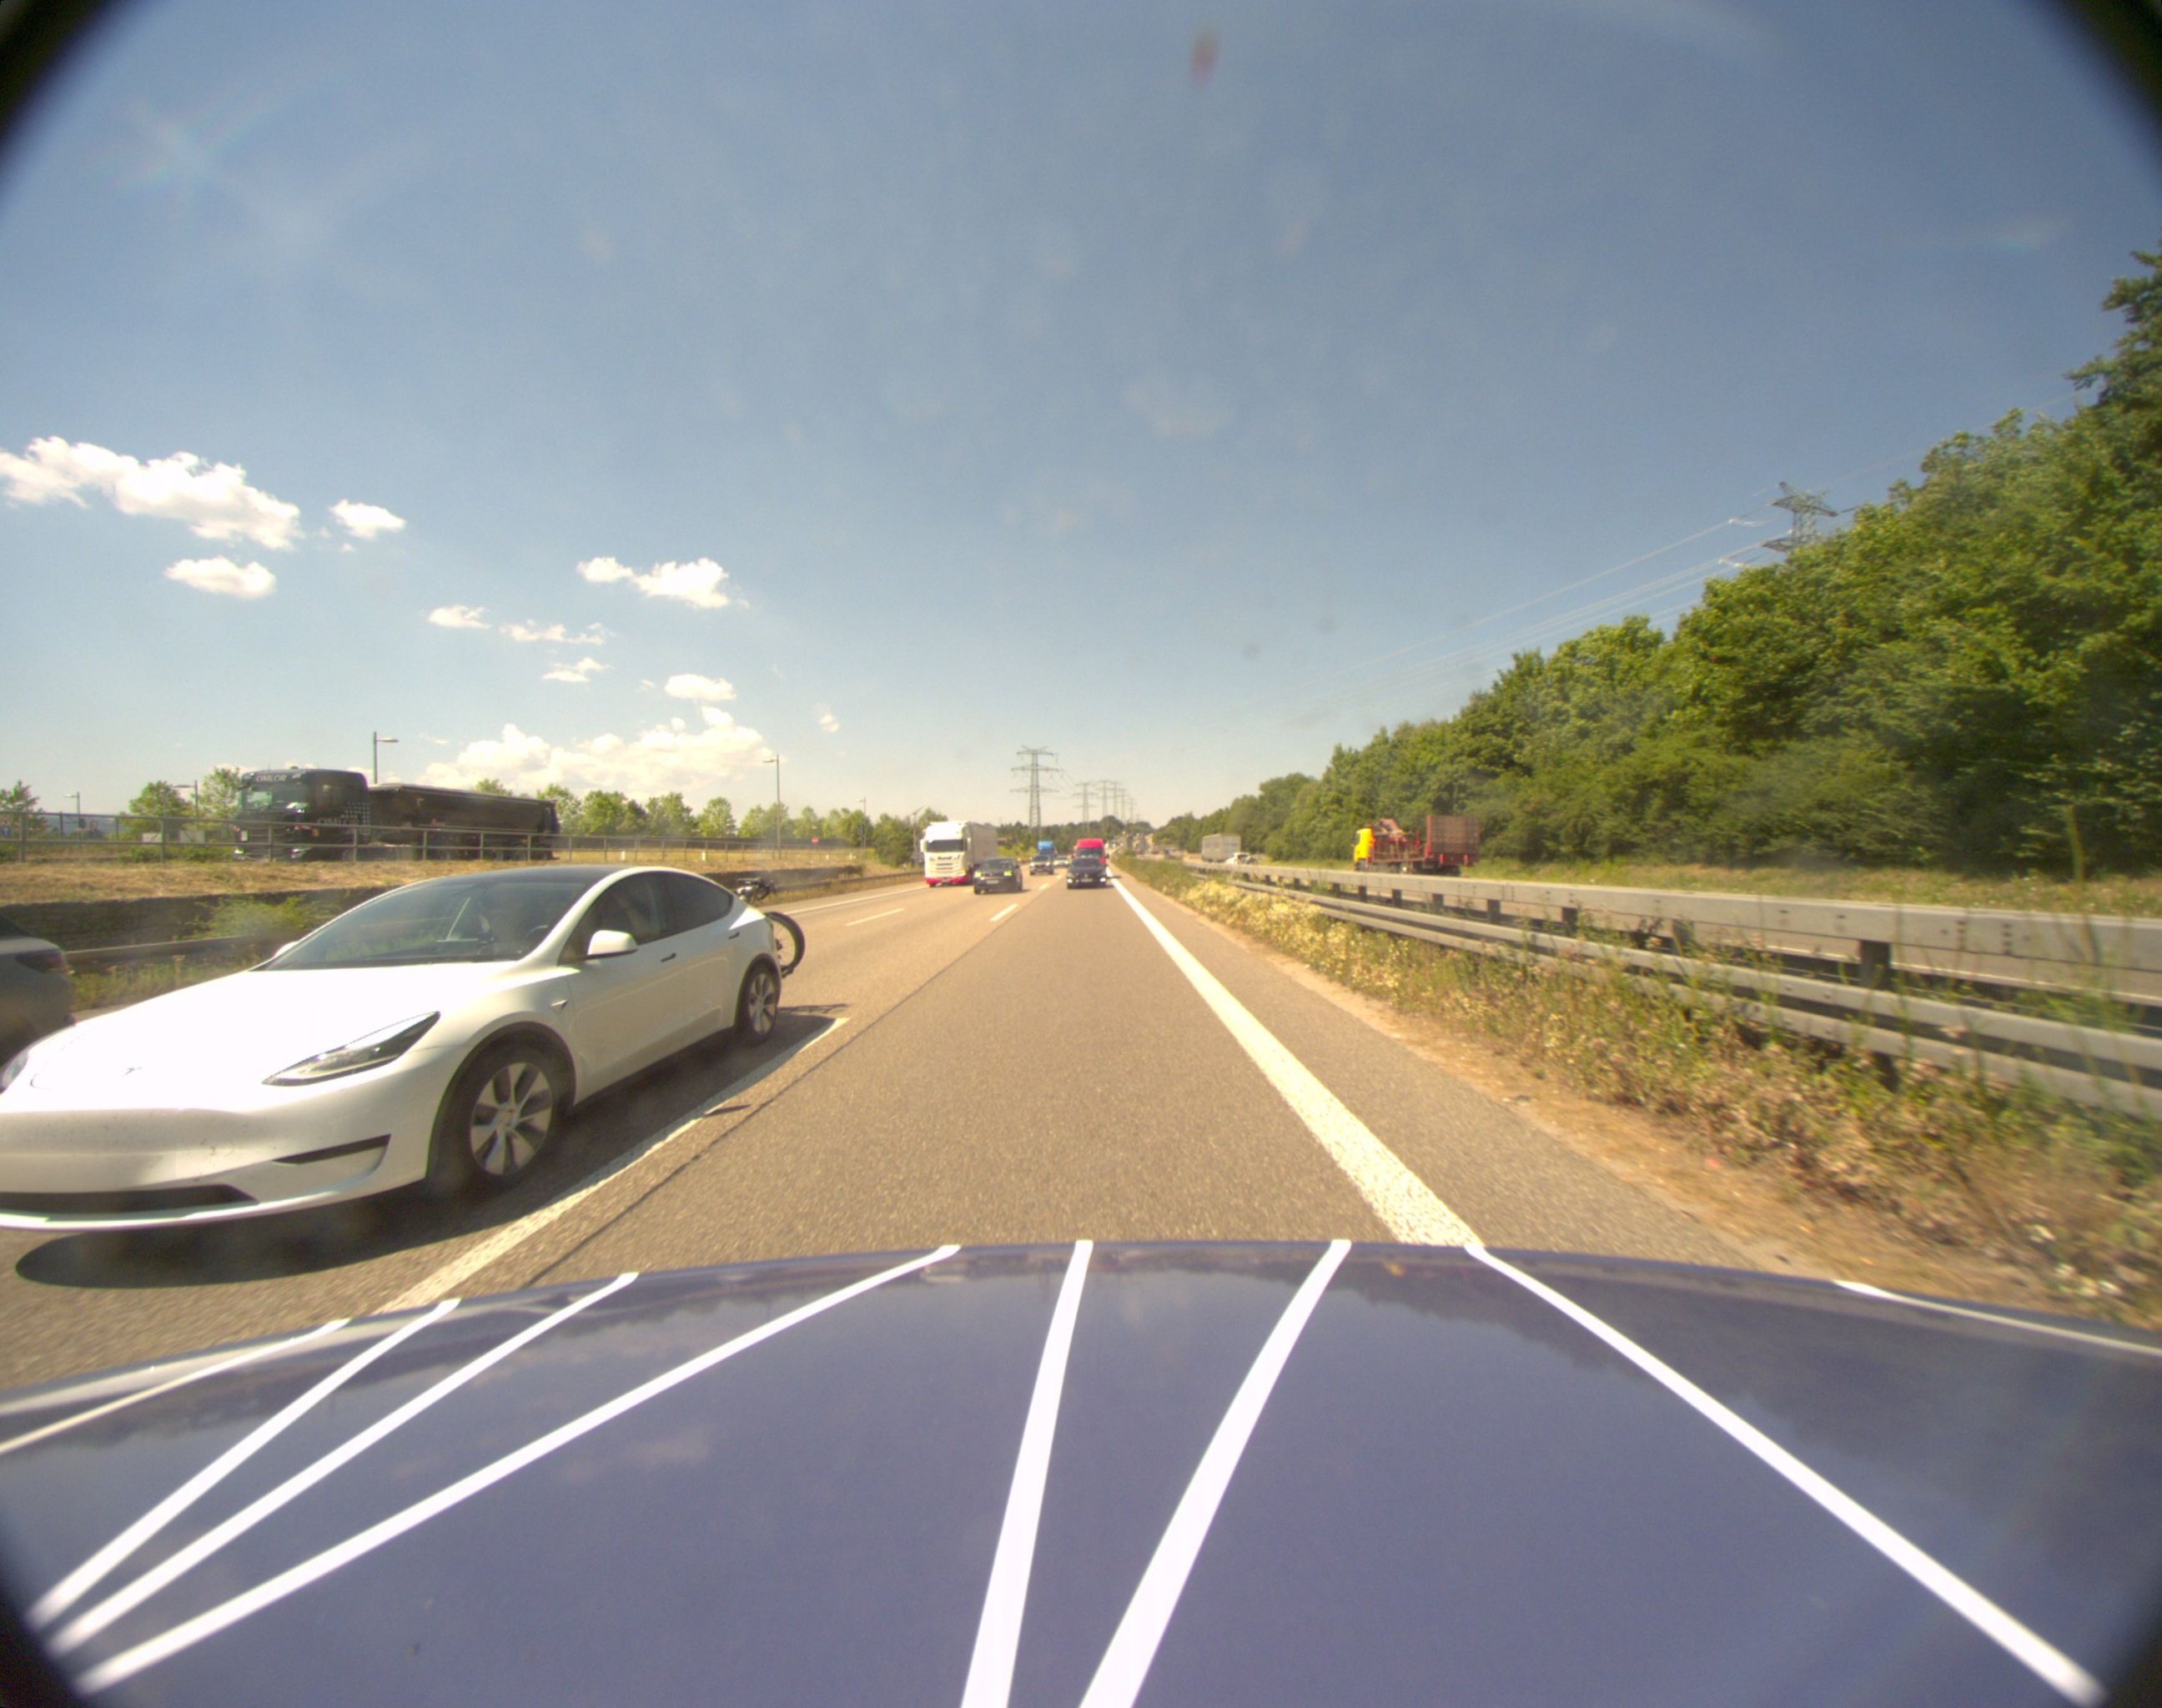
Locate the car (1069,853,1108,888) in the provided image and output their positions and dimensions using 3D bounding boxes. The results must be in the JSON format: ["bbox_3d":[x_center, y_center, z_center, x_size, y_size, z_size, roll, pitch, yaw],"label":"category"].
[{"bbox_3d":[0.411,0.749,36.042,1.735,1.535,3.750,0,1,2],"label":"car"}]

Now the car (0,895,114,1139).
[{"bbox_3d":[-8.371,1.195,3.495,1.873,1.627,4.585,-2,1,0],"label":"car"}]

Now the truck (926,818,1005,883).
[{"bbox_3d":[-7.730,-0.262,52.901,3.076,3.885,12.503,-3,1,1],"label":"truck"}]

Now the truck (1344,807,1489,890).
[{"bbox_3d":[17.477,-0.344,40.738,2.789,3.717,11.156,-3,1,1],"label":"truck"}]

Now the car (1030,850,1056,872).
[{"bbox_3d":[-3.171,0.559,64.028,1.749,1.691,4.088,-1,1,3],"label":"car"}]

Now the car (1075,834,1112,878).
[{"bbox_3d":[0.843,0.086,48.061,2.100,2.598,4.496,-1,1,3],"label":"car"}]

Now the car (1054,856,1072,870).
[{"bbox_3d":[-2.157,1.058,93.334,1.878,1.591,3.688,-1,1,3],"label":"car"}]

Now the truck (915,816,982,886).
[{"bbox_3d":[-7.901,-0.187,45.677,3.076,3.885,3.847,-3,1,1],"label":"truck"}]

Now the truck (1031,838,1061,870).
[{"bbox_3d":[-5.874,-0.135,131.246,3.797,4.971,14.924,-3,1,2],"label":"truck"}]

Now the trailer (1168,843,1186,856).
[{"bbox_3d":[21.588,-1.019,171.180,3.153,2.624,8.531,-3,1,2],"label":"trailer"}]

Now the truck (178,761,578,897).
[{"bbox_3d":[-25.951,-0.846,29.848,3.798,4.060,12.516,-3,1,0],"label":"truck"}]

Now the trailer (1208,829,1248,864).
[{"bbox_3d":[19.253,-0.943,99.852,3.462,4.255,7.968,-3,1,0],"label":"trailer"}]

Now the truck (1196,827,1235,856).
[{"bbox_3d":[19.189,-1.736,109.225,3.462,3.971,11.122,-1,0,0],"label":"truck"}]

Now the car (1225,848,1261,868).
[{"bbox_3d":[13.978,0.311,65.951,1.998,1.661,5.610,1,1,1],"label":"car"}]

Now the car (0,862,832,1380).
[{"bbox_3d":[-3.744,0.981,5.422,1.955,1.627,5.599,-3,1,1],"label":"car"}]

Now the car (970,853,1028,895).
[{"bbox_3d":[-3.642,0.837,34.408,1.955,1.637,4.047,-3,1,2],"label":"car"}]
